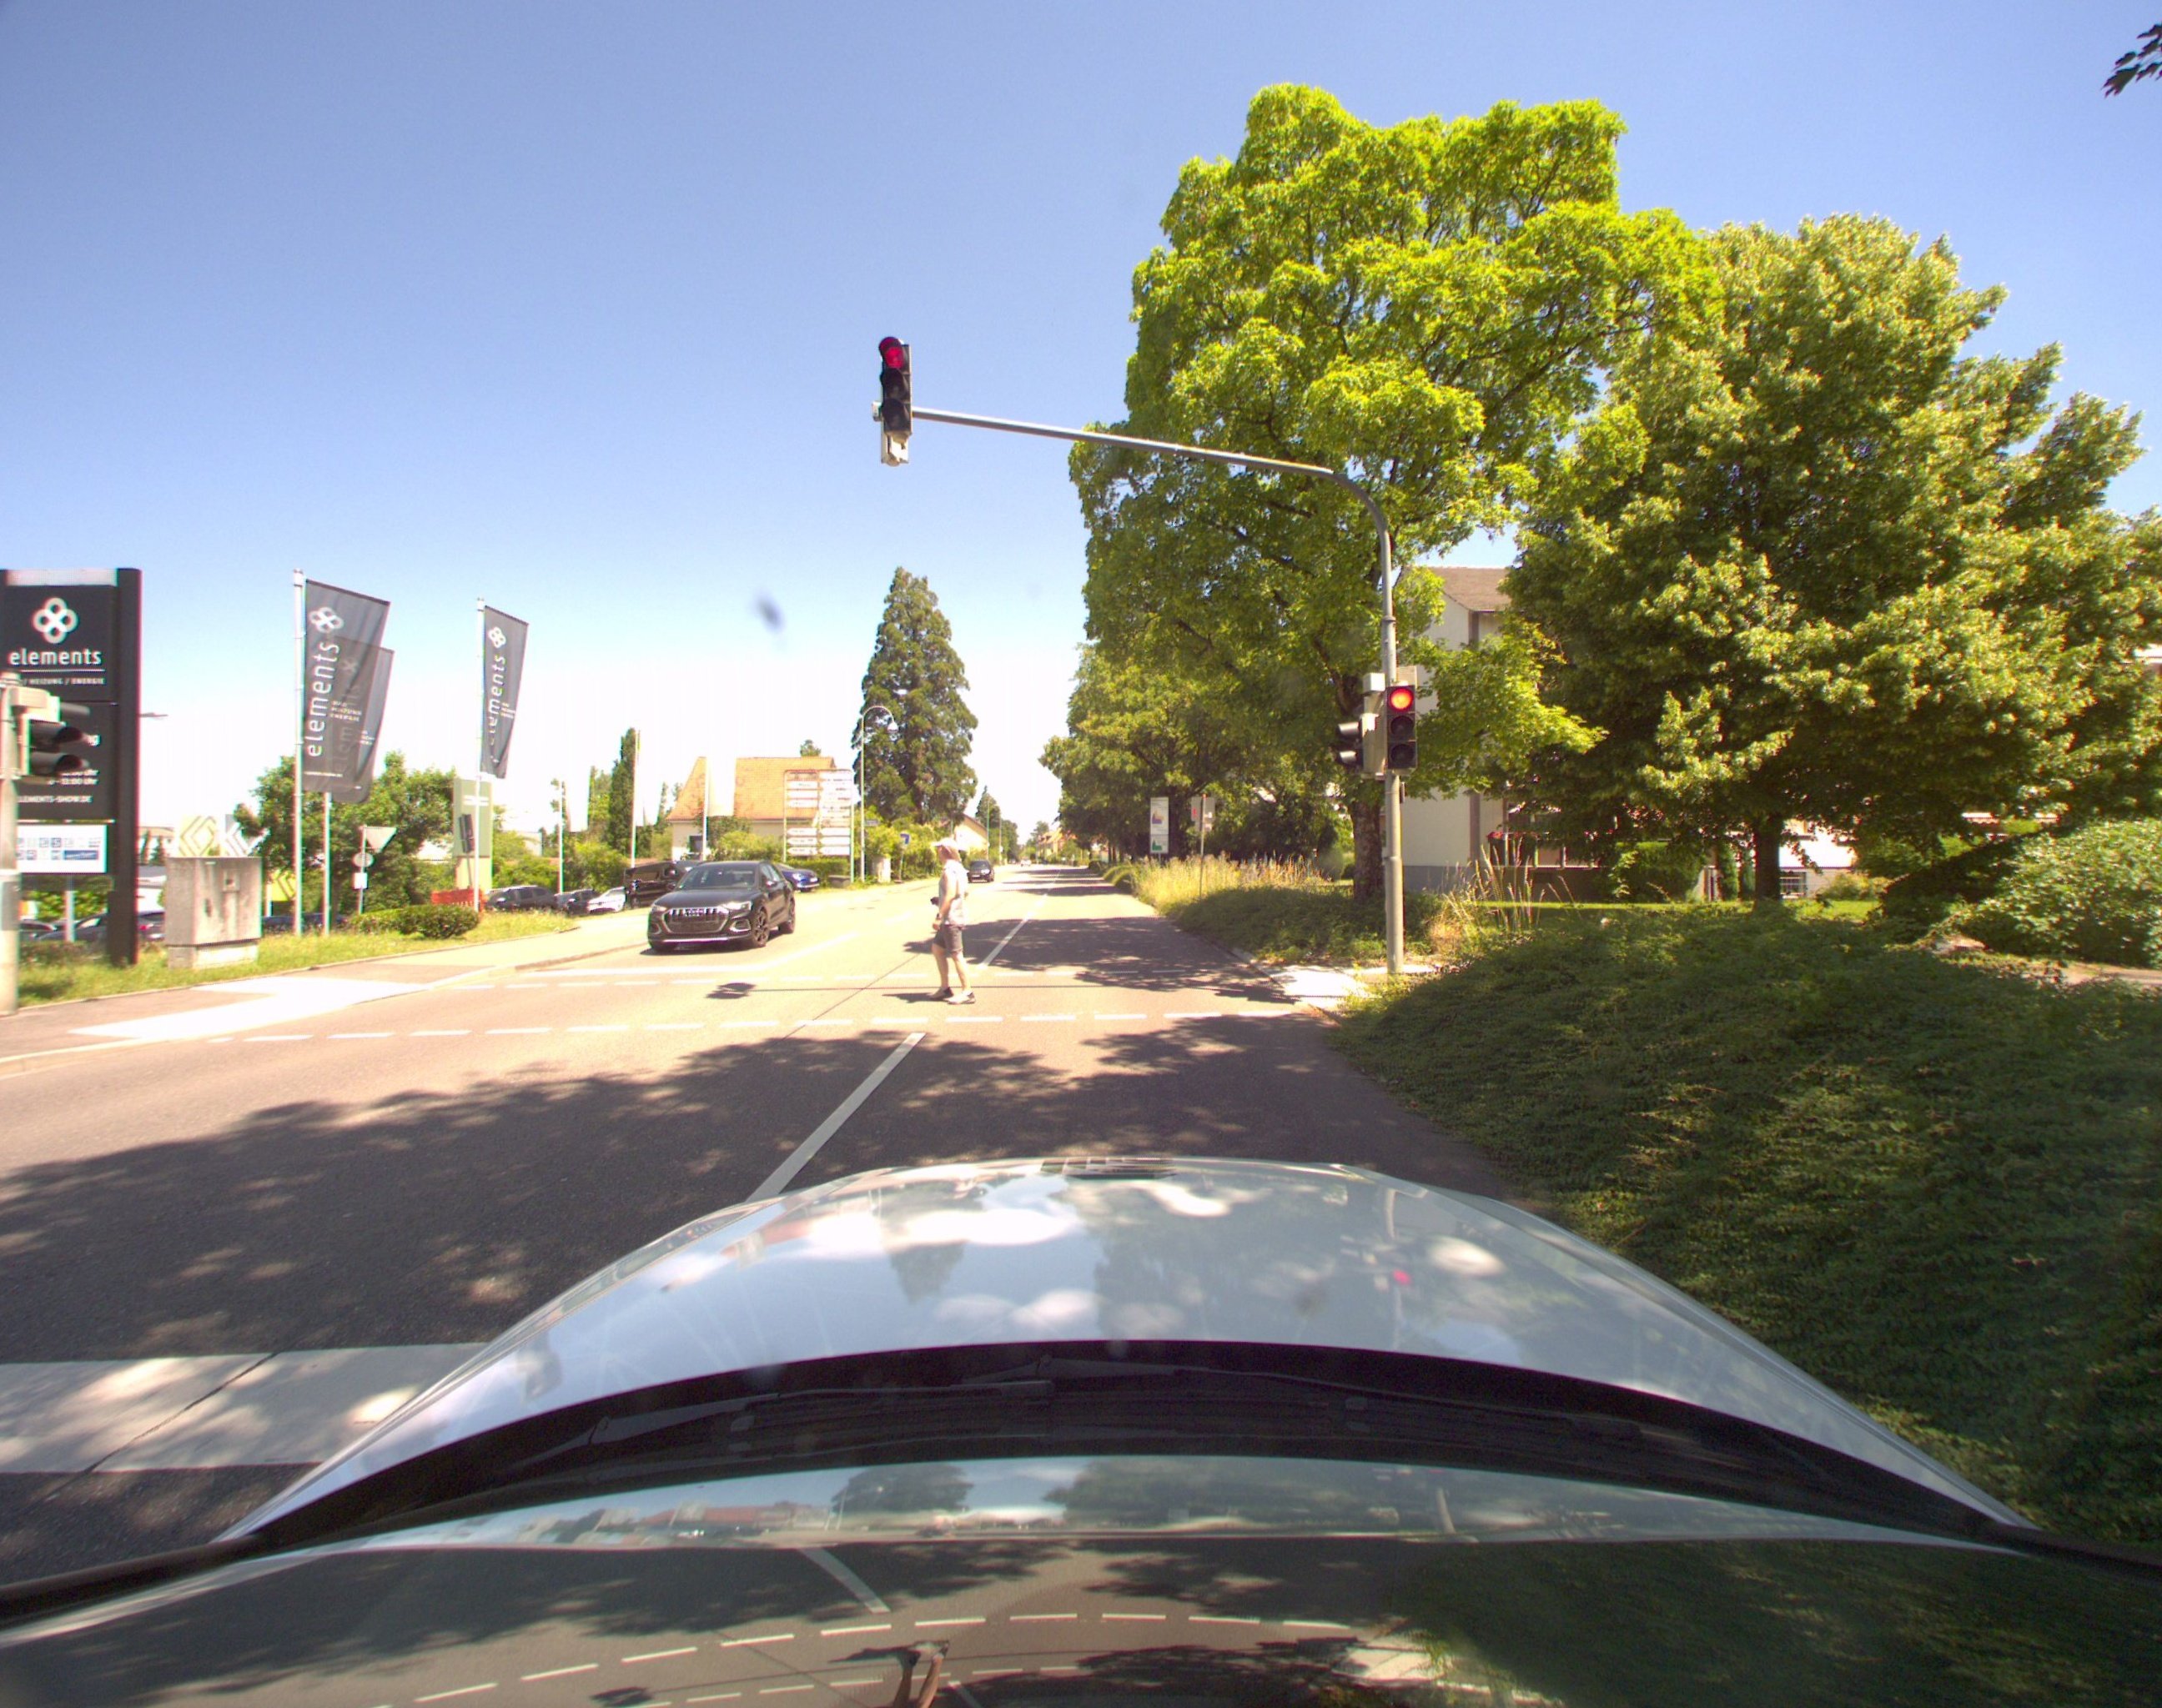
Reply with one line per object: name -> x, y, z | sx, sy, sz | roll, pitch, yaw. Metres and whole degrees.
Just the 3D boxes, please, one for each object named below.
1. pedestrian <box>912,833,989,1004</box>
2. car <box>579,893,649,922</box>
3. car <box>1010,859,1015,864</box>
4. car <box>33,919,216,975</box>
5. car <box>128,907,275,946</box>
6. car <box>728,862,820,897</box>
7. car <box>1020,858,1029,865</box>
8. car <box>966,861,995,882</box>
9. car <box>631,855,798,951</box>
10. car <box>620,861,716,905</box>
pedestrian -> -1.388, 0.665, 8.697 | 0.608, 1.751, 0.565 | -1, -1, 21
car -> -23.254, 2.647, 40.712 | 1.743, 1.226, 3.240 | 0, 0, -3
car -> -20.154, 2.200, 239.569 | 1.456, 1.435, 3.181 | 0, -1, -2
car -> -33.172, 3.192, 28.321 | 4.277, 1.718, 1.887 | -1, 0, 3
car -> -35.436, 2.903, 32.880 | 3.973, 1.413, 1.756 | 0, -1, 0
car -> -13.635, 1.110, 36.324 | 3.486, 1.427, 1.597 | -2, 0, -6
car -> -11.054, 1.463, 159.745 | 1.551, 1.448, 3.786 | 0, -1, -2
car -> -6.631, 1.135, 54.043 | 1.426, 1.322, 3.356 | 0, -1, 2
car -> -6.867, 0.861, 15.780 | 1.923, 1.526, 4.291 | -2, -1, -11
car -> -16.836, 1.152, 33.294 | 3.144, 1.714, 1.569 | 0, -1, -9
